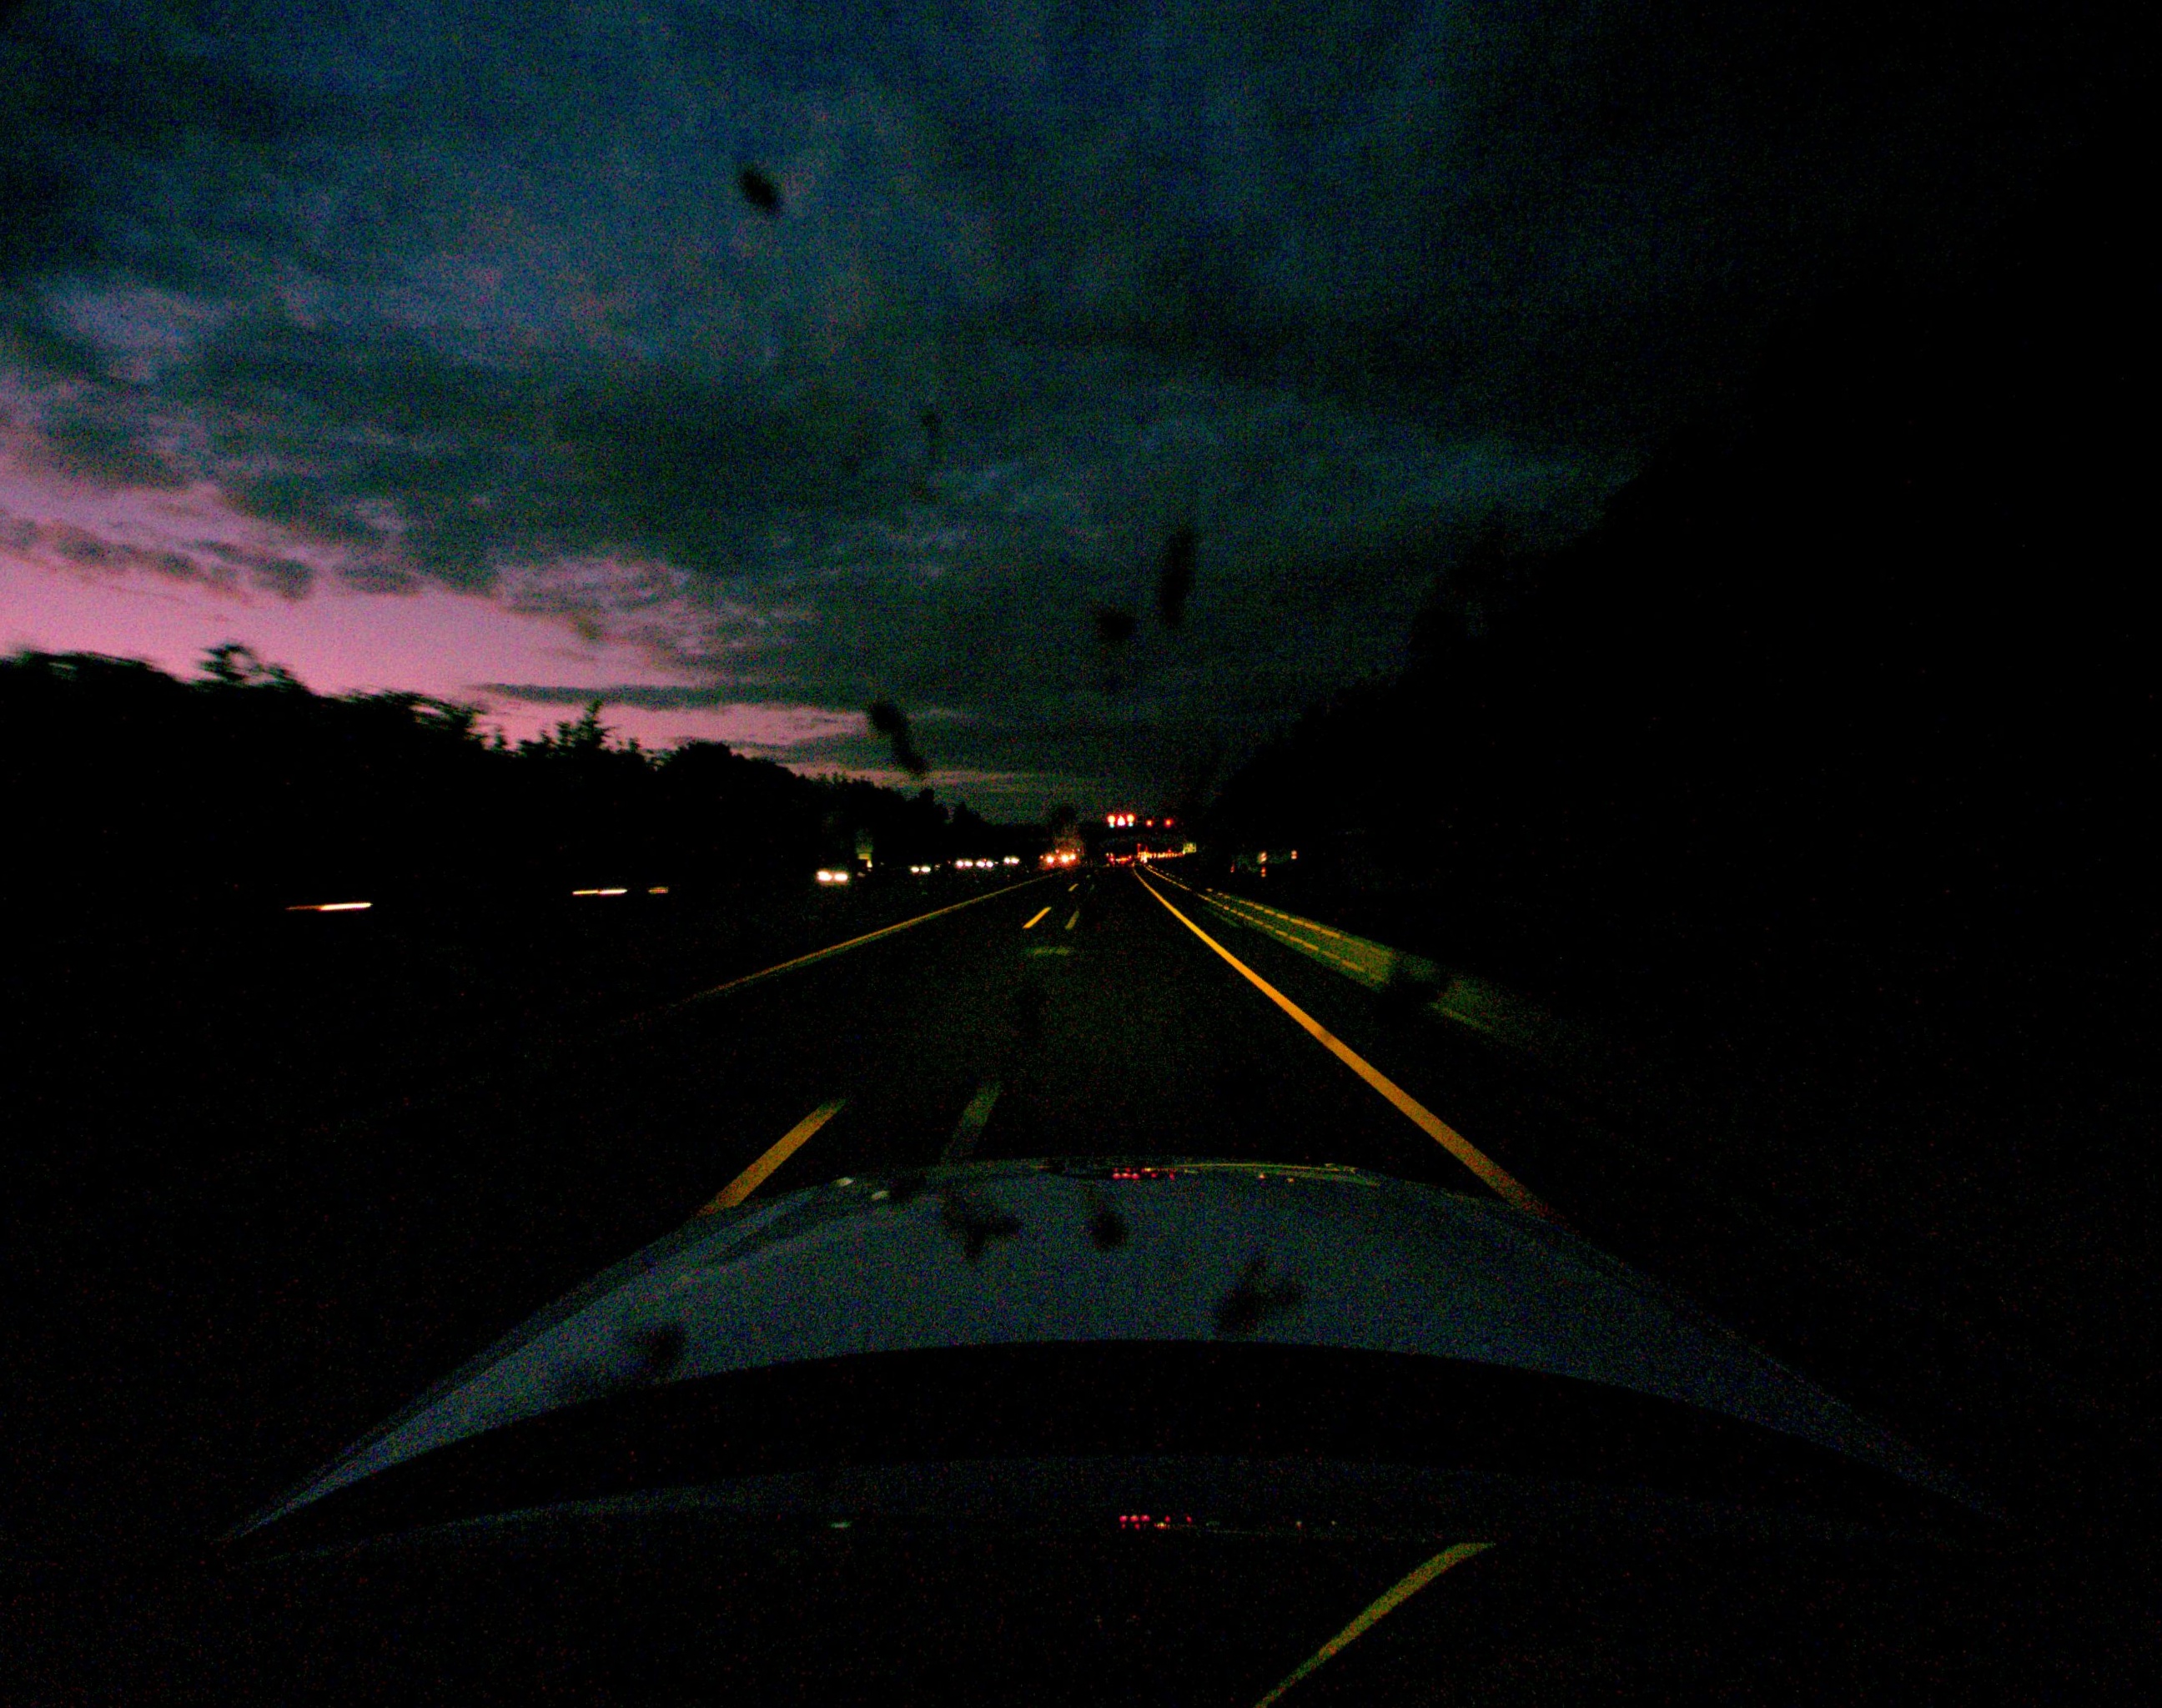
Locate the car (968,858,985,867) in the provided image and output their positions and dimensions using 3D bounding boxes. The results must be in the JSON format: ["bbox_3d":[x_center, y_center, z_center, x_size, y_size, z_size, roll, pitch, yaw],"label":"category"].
[{"bbox_3d":[-17.018,1.415,132.614,1.802,1.485,4.707,0,0,4],"label":"car"}]

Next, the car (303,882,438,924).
[{"bbox_3d":[-28.778,1.935,33.190,1.569,1.470,4.231,0,0,4],"label":"car"}]

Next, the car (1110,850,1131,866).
[{"bbox_3d":[4.234,0.453,88.300,2.257,1.621,4.002,0,0,2],"label":"car"}]

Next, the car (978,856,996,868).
[{"bbox_3d":[-14.730,1.266,127.909,1.892,1.738,4.813,0,0,4],"label":"car"}]

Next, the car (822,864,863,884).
[{"bbox_3d":[-19.986,1.639,68.358,1.799,1.588,4.880,0,0,2],"label":"car"}]

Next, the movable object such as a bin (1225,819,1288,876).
[{"bbox_3d":[10.347,-0.327,48.461,2.611,3.108,5.808,-2,0,2],"label":"movable object such as a bin"}]

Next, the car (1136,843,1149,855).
[{"bbox_3d":[17.965,-1.399,239.384,3.589,3.395,8.021,0,0,3],"label":"car"}]

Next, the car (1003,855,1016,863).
[{"bbox_3d":[-15.421,1.111,175.822,1.796,1.638,4.757,0,0,5],"label":"car"}]

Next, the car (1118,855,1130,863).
[{"bbox_3d":[7.924,0.856,149.201,1.961,1.437,4.008,0,0,7],"label":"car"}]

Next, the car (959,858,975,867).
[{"bbox_3d":[-19.303,1.483,138.231,1.817,1.485,4.707,0,0,4],"label":"car"}]

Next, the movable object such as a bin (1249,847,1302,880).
[{"bbox_3d":[10.302,0.517,43.492,1.985,1.601,4.087,-3,-1,3],"label":"movable object such as a bin"}]

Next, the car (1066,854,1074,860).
[{"bbox_3d":[-3.246,0.922,236.865,1.583,1.604,5.042,0,0,6],"label":"car"}]

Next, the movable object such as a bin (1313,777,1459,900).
[{"bbox_3d":[9.314,-0.416,25.552,2.554,3.318,5.581,-2,0,2],"label":"movable object such as a bin"}]

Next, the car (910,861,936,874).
[{"bbox_3d":[-18.138,1.573,93.688,1.743,1.454,4.675,0,0,4],"label":"car"}]

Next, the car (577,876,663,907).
[{"bbox_3d":[-24.782,2.001,43.999,1.665,1.470,4.652,0,0,5],"label":"car"}]

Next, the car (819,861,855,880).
[{"bbox_3d":[-22.642,1.518,75.600,1.744,1.722,4.672,0,0,2],"label":"car"}]
